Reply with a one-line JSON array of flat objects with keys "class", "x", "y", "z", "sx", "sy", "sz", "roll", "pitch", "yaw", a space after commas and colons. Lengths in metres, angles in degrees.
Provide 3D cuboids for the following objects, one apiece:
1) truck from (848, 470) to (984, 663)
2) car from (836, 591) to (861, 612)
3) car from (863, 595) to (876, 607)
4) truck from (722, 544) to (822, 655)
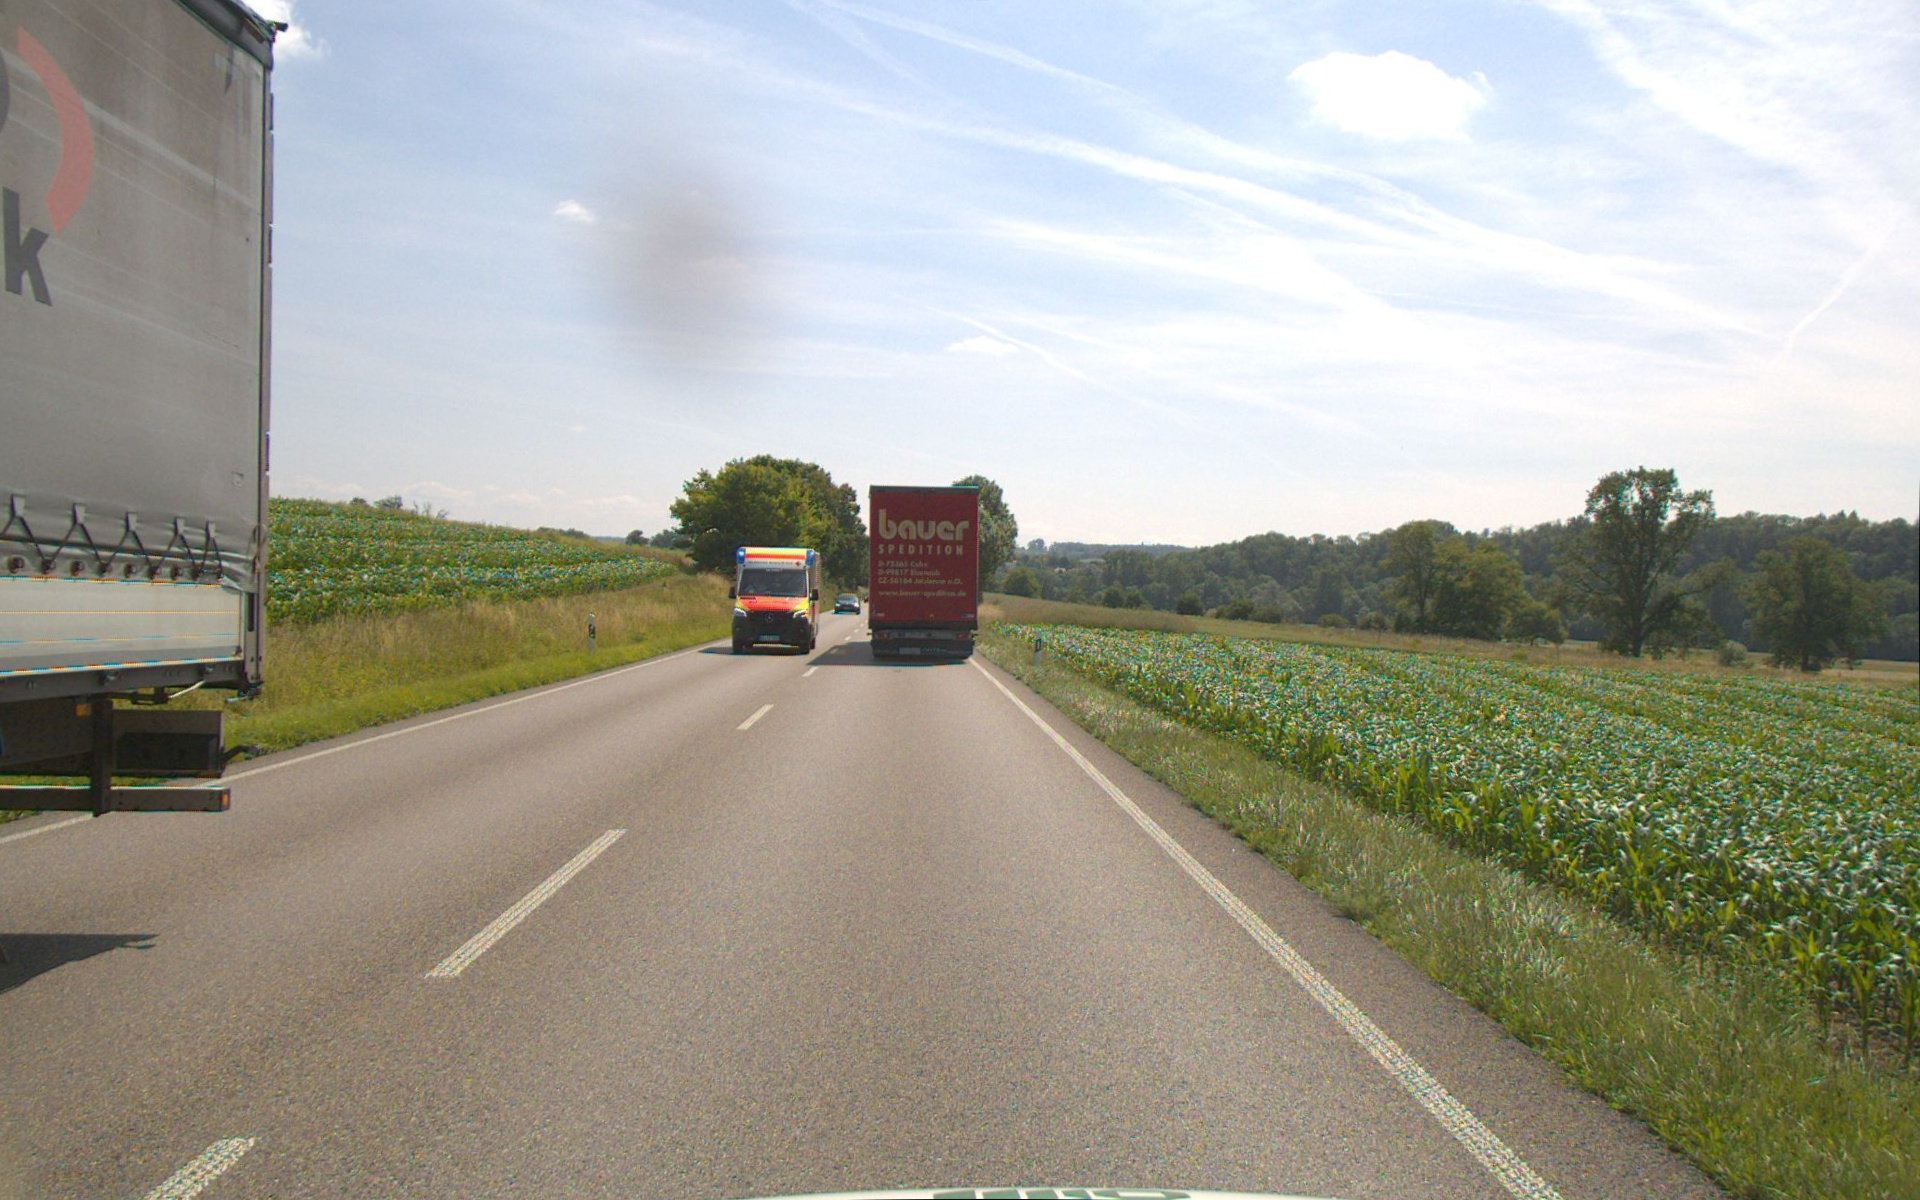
[{"class": "truck", "x": -1.021, "y": -0.724, "z": 41.602, "sx": 3.031, "sy": 4.337, "sz": 8.312, "roll": 1, "pitch": -1, "yaw": -1}, {"class": "car", "x": -8.195, "y": 0.115, "z": 121.800, "sx": 1.639, "sy": 1.482, "sz": 4.348, "roll": 1, "pitch": 0, "yaw": -2}, {"class": "car", "x": -12.319, "y": 0.113, "z": 224.310, "sx": 1.623, "sy": 1.561, "sz": 4.356, "roll": 2, "pitch": 0, "yaw": -2}, {"class": "truck", "x": -4.895, "y": -0.003, "z": 43.974, "sx": 2.163, "sy": 2.718, "sz": 6.413, "roll": 0, "pitch": 0, "yaw": -2}]
